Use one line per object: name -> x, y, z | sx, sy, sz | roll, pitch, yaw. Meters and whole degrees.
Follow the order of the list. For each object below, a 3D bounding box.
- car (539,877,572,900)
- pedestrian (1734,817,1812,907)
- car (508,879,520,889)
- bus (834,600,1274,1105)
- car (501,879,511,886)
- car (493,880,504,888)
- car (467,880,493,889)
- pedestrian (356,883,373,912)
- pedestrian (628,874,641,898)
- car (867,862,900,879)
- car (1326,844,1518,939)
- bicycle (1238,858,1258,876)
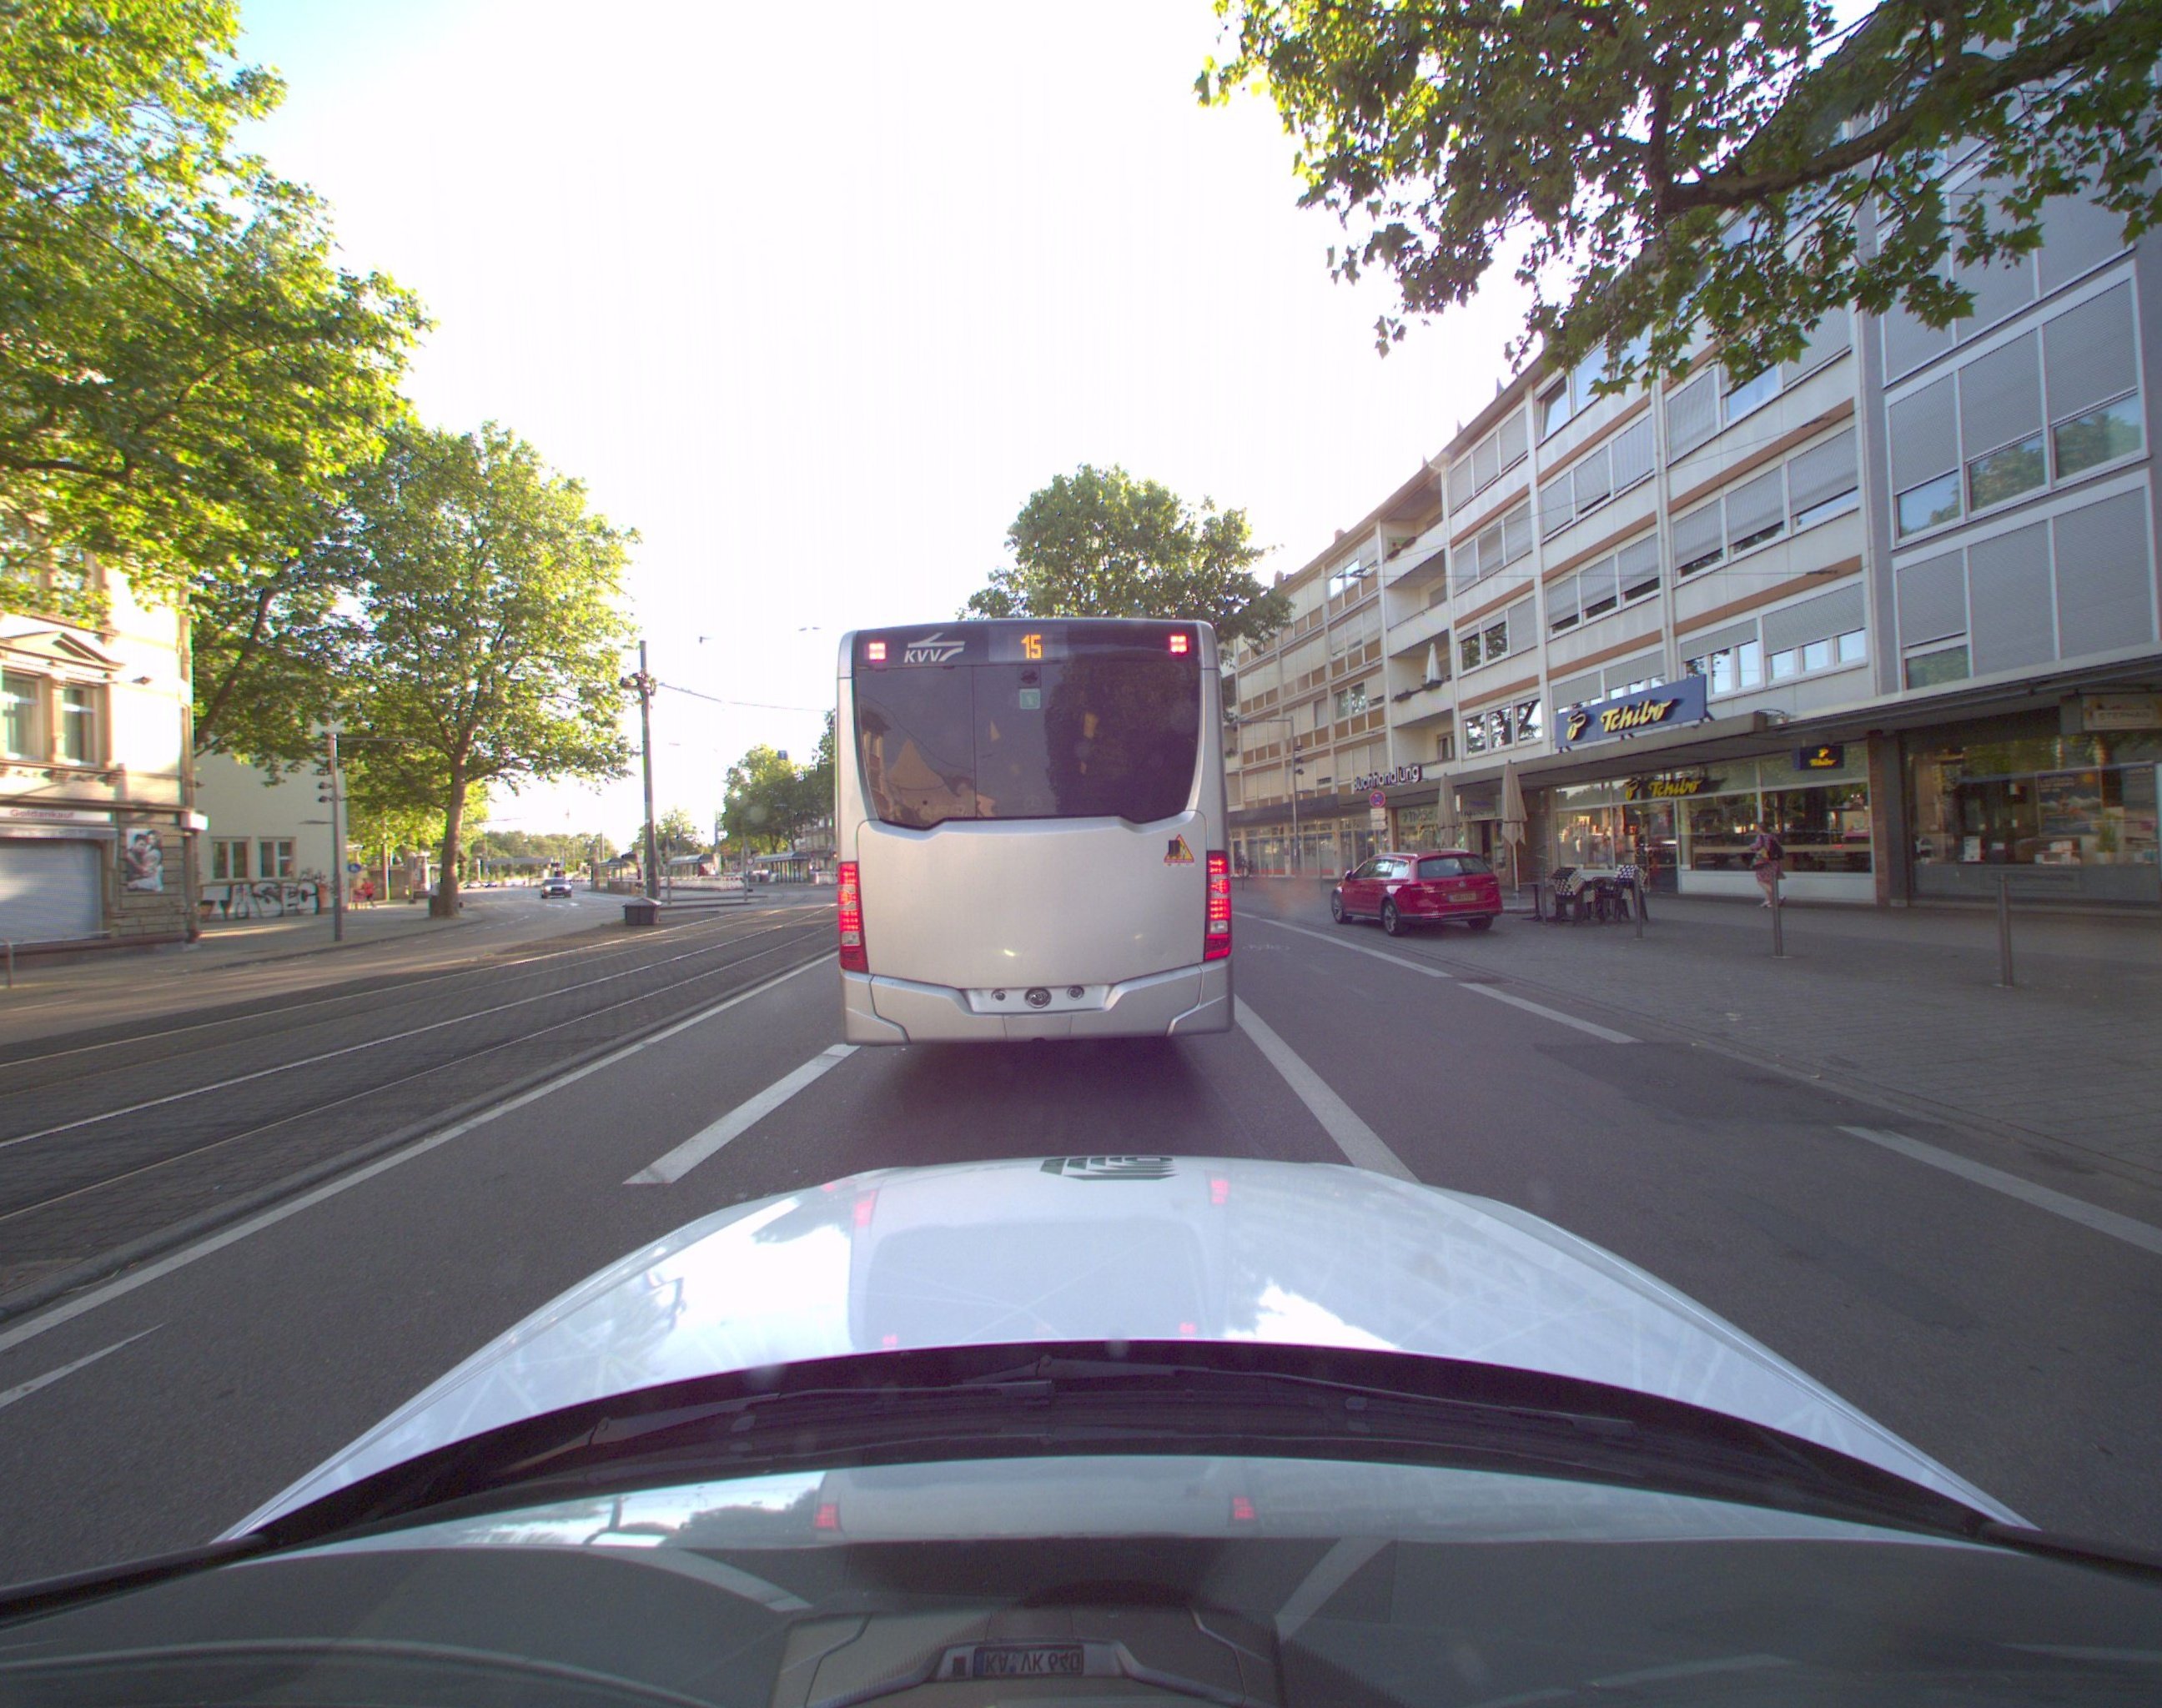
car -> -40.047, 2.597, 62.073 | 2.008, 1.640, 3.958 | -2, -1, -33
pedestrian -> 12.782, 0.145, 15.053 | 0.649, 1.592, 0.788 | -4, -1, -4
car -> -111.425, 5.866, 160.027 | 1.858, 1.684, 3.677 | -4, 1, -35
bus -> -0.147, 0.014, 9.947 | 2.622, 3.028, 9.995 | -1, 0, 0
car -> -130.067, 6.435, 184.208 | 1.858, 1.684, 3.676 | -2, -1, -35
car -> -117.806, 6.052, 164.688 | 1.858, 1.684, 3.676 | -2, -1, -35
car -> -122.645, 6.287, 166.152 | 1.768, 1.640, 4.024 | -3, -1, 44
pedestrian -> -38.932, 2.369, 44.261 | 0.493, 1.513, 0.606 | -2, 0, -21
pedestrian -> -31.222, 2.253, 56.977 | 0.661, 1.656, 0.438 | -2, -1, -41
car -> -21.517, 1.768, 88.581 | 2.010, 1.792, 3.954 | 0, -1, -39
car -> 6.379, 0.638, 15.828 | 1.765, 1.482, 4.300 | -3, 0, -2
bicycle -> 9.316, 0.720, 45.525 | 0.413, 0.945, 1.431 | -2, -1, -18
